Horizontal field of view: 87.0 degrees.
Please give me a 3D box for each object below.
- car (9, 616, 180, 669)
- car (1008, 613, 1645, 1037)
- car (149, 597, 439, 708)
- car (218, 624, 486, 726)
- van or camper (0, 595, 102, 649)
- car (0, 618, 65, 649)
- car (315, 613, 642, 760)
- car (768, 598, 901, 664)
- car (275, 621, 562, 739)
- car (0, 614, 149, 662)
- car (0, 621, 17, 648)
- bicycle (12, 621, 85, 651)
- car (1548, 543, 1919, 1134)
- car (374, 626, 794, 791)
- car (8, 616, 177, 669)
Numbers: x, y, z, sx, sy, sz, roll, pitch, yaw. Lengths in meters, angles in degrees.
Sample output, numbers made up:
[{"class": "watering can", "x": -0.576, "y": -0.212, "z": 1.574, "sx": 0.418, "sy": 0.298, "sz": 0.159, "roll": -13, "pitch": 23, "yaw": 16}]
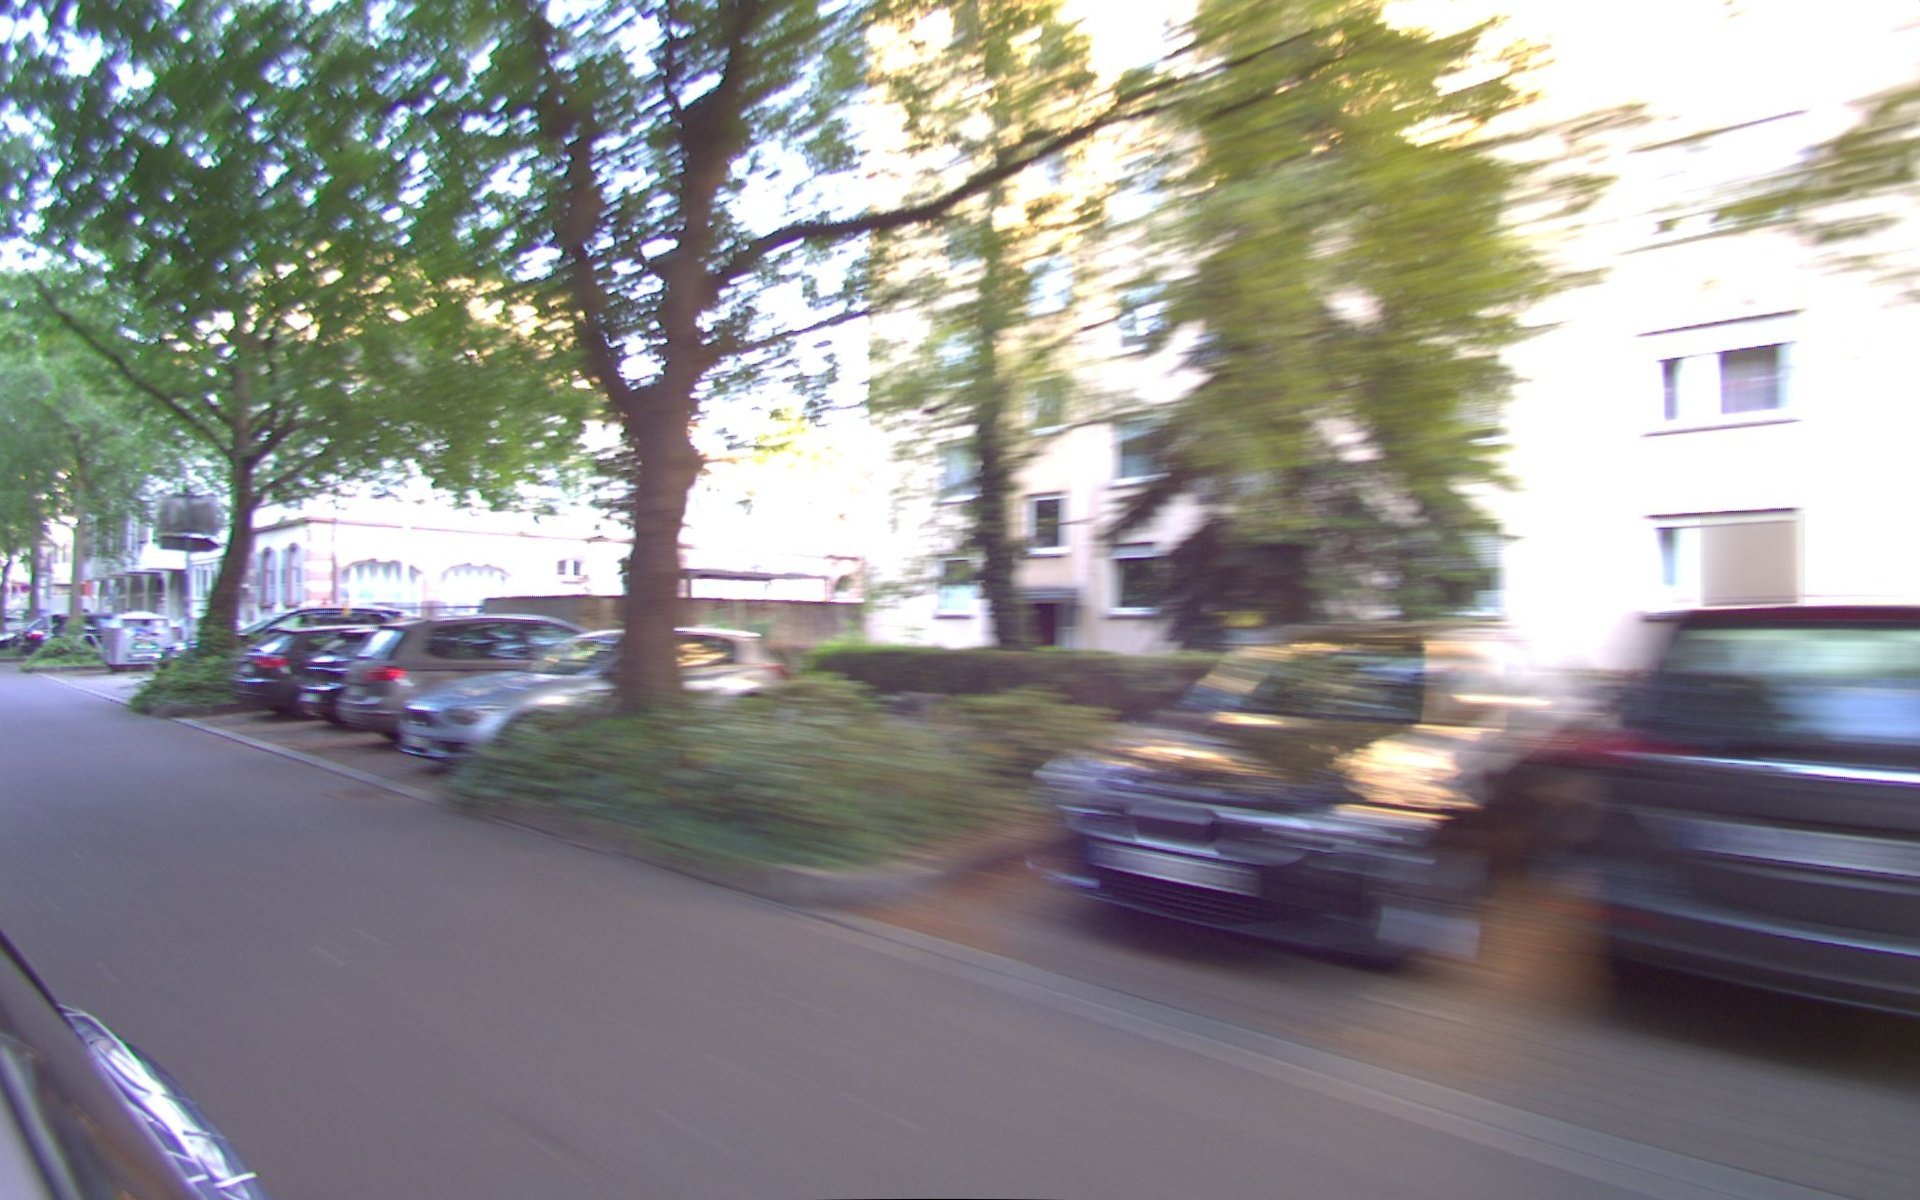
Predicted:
[{"class": "car", "x": -27.879, "y": 1.335, "z": 32.698, "sx": 1.826, "sy": 1.600, "sz": 3.947, "roll": -1, "pitch": -2, "yaw": 39}, {"class": "car", "x": 2.501, "y": 0.803, "z": 5.926, "sx": 2.070, "sy": 1.435, "sz": 4.668, "roll": -1, "pitch": -1, "yaw": 39}, {"class": "car", "x": -12.827, "y": 0.928, "z": 19.713, "sx": 1.999, "sy": 1.906, "sz": 4.372, "roll": -1, "pitch": -1, "yaw": 41}, {"class": "car", "x": -9.700, "y": 1.116, "z": 16.332, "sx": 1.593, "sy": 1.453, "sz": 3.370, "roll": -1, "pitch": -2, "yaw": 39}, {"class": "van or camper", "x": -42.716, "y": 1.028, "z": 46.514, "sx": 1.944, "sy": 2.446, "sz": 4.766, "roll": -1, "pitch": -3, "yaw": 42}, {"class": "car", "x": -48.720, "y": 1.723, "z": 51.986, "sx": 1.622, "sy": 1.539, "sz": 4.007, "roll": -2, "pitch": -2, "yaw": 45}, {"class": "car", "x": -6.060, "y": 0.994, "z": 13.000, "sx": 1.759, "sy": 1.621, "sz": 3.370, "roll": -1, "pitch": -2, "yaw": 40}, {"class": "car", "x": -4.067, "y": 1.024, "z": 32.389, "sx": 4.414, "sy": 1.971, "sz": 1.763, "roll": -3, "pitch": -3, "yaw": 42}, {"class": "car", "x": -7.891, "y": 1.079, "z": 14.959, "sx": 1.663, "sy": 1.518, "sz": 3.370, "roll": -1, "pitch": -2, "yaw": 39}, {"class": "car", "x": -33.722, "y": 1.437, "z": 38.249, "sx": 1.619, "sy": 1.695, "sz": 4.492, "roll": -1, "pitch": -2, "yaw": 38}, {"class": "car", "x": -64.473, "y": 2.219, "z": 65.785, "sx": 1.789, "sy": 1.772, "sz": 4.419, "roll": -1, "pitch": -2, "yaw": 38}, {"class": "bicycle", "x": -32.639, "y": 1.286, "z": 36.263, "sx": 0.479, "sy": 1.033, "sz": 1.882, "roll": -1, "pitch": -3, "yaw": 40}, {"class": "car", "x": 4.217, "y": 0.663, "z": 4.515, "sx": 2.062, "sy": 1.697, "sz": 4.352, "roll": -1, "pitch": 0, "yaw": 39}, {"class": "car", "x": -3.966, "y": 1.029, "z": 11.236, "sx": 1.745, "sy": 1.390, "sz": 4.059, "roll": -1, "pitch": -1, "yaw": 39}, {"class": "car", "x": -27.973, "y": 1.326, "z": 32.738, "sx": 1.788, "sy": 1.604, "sz": 3.945, "roll": -1, "pitch": -1, "yaw": 41}]
